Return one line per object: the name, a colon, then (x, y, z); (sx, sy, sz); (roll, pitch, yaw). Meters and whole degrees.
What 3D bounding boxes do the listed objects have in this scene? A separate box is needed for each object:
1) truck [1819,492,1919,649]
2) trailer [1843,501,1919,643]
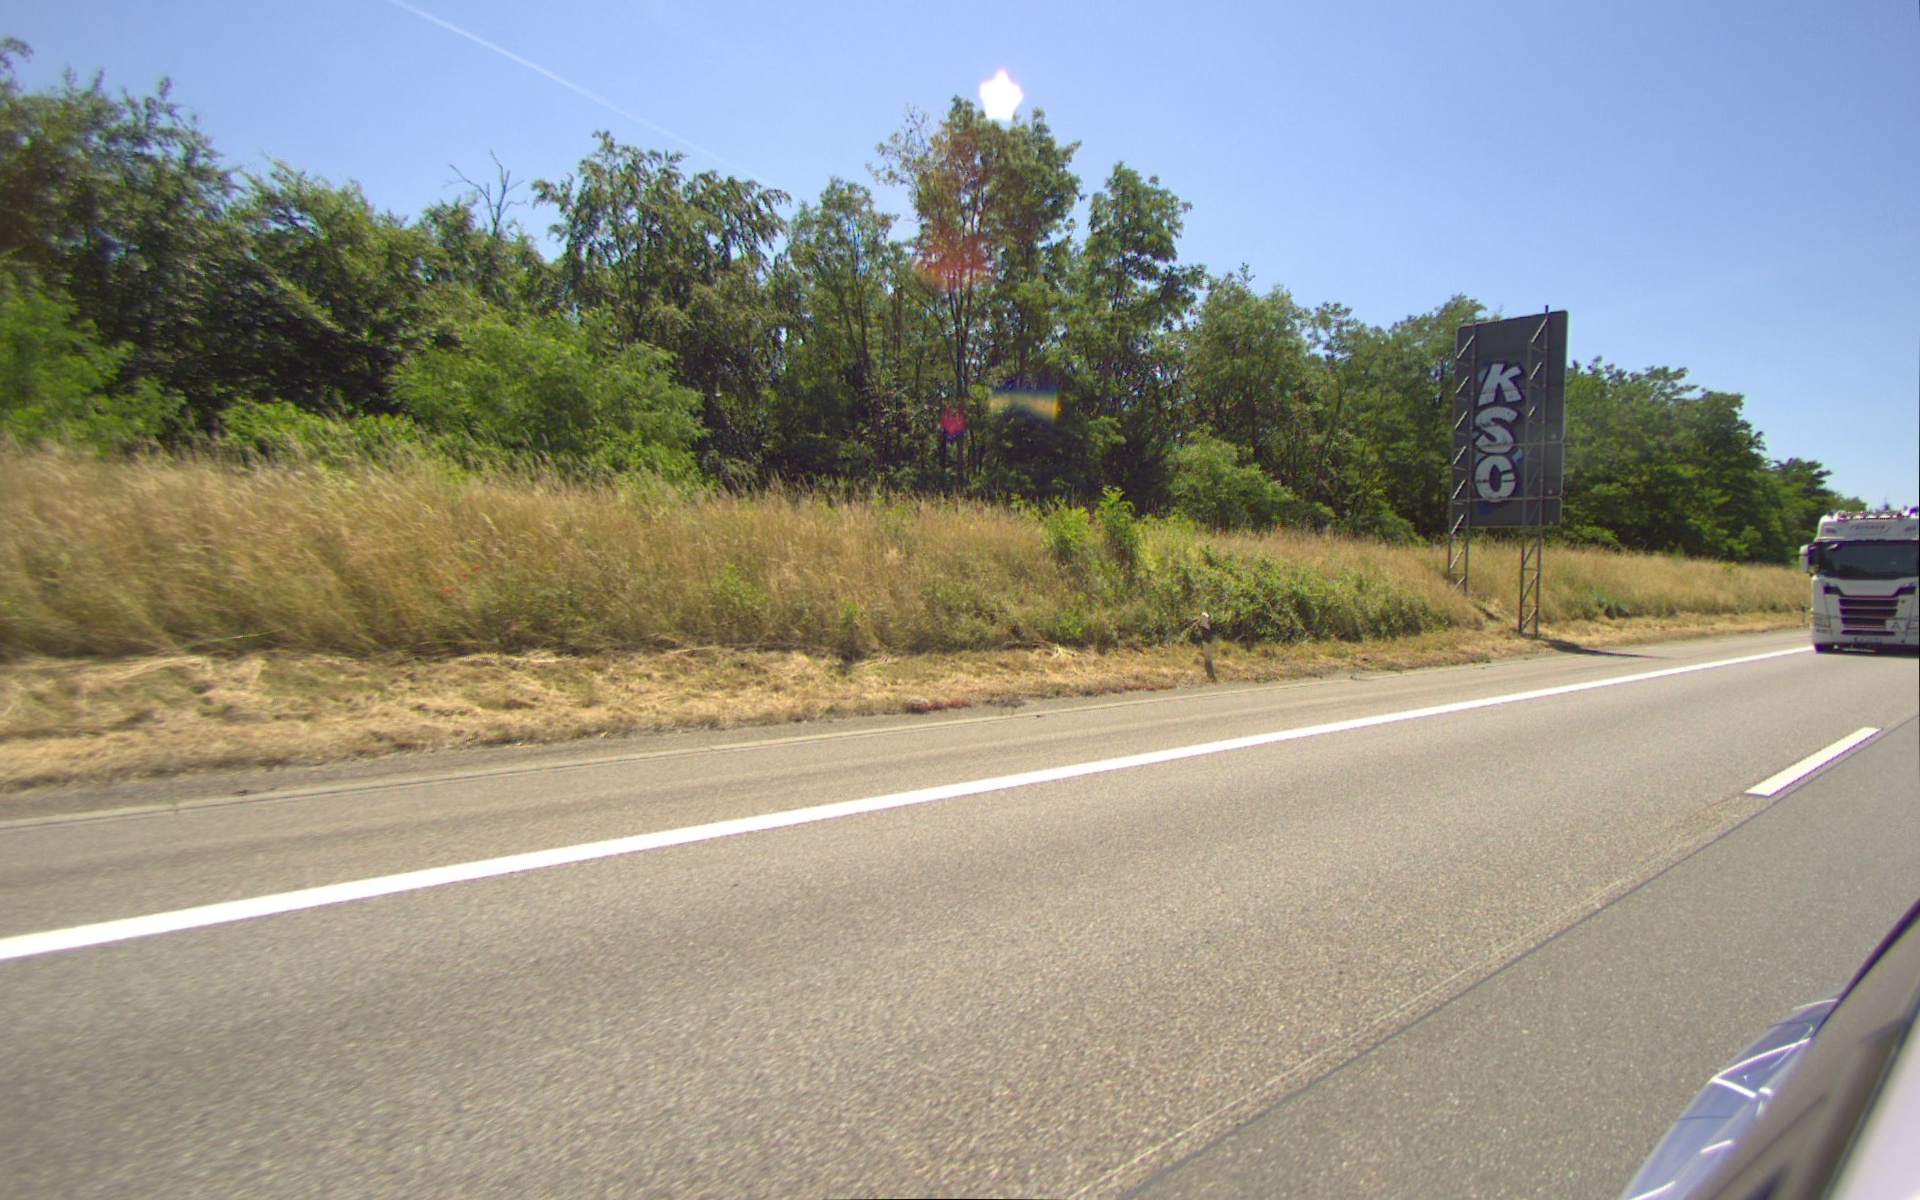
truck: (25.573, -0.741, 27.455); (5.865, 3.882, 2.603); (0, 0, -41)
trailer: (29.213, -0.780, 30.617); (8.546, 3.882, 2.603); (0, 0, -41)
